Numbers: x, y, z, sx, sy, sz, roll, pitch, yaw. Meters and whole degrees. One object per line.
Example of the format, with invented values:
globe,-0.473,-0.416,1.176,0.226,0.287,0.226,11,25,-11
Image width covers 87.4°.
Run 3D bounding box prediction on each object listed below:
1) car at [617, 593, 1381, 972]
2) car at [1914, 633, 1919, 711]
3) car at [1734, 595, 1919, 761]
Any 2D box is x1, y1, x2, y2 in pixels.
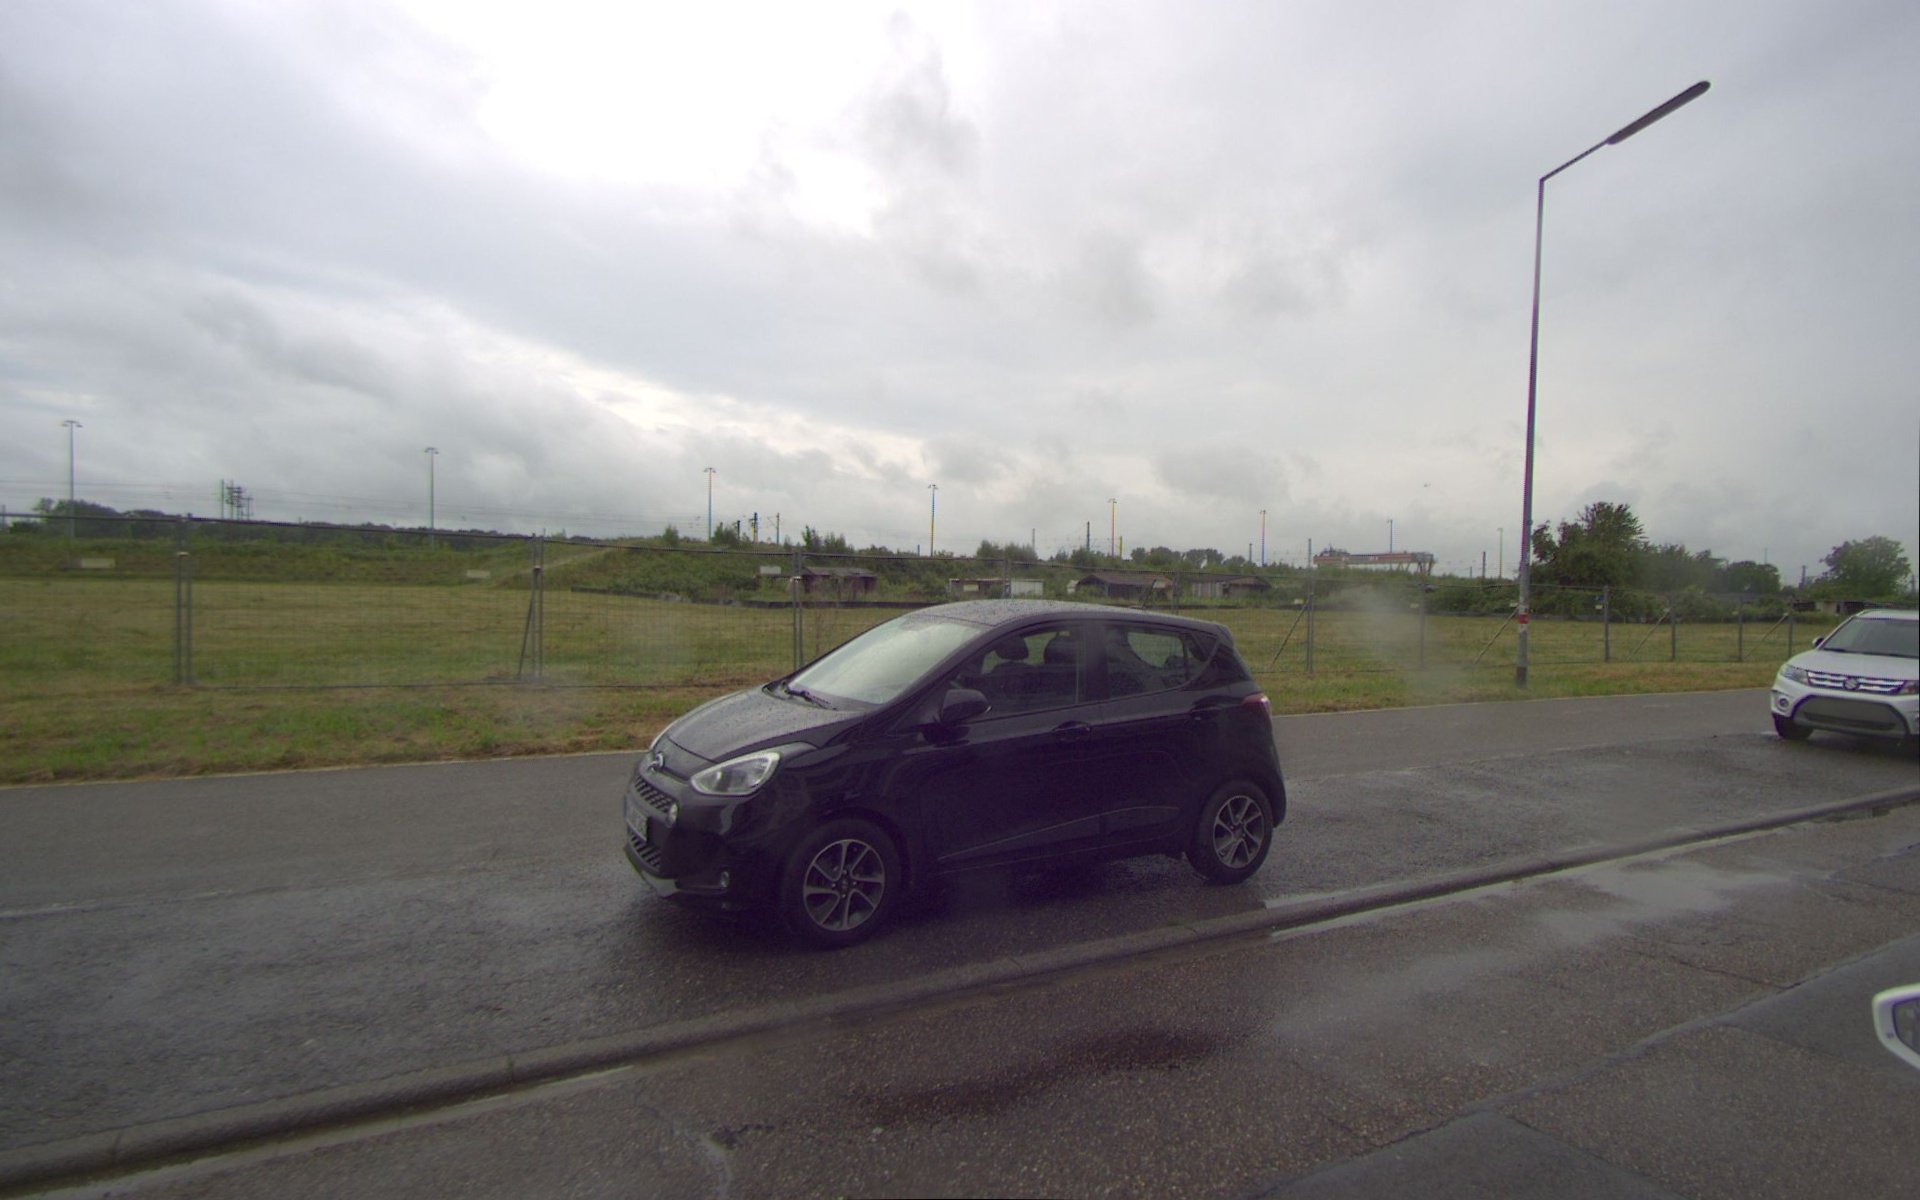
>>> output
car,0.340,0.748,5.732,4.108,1.482,1.664,1,1,-30
car,16.709,0.985,15.322,4.615,1.549,1.829,2,2,-30
car,11.818,0.855,12.399,4.932,1.629,1.843,1,4,-31
